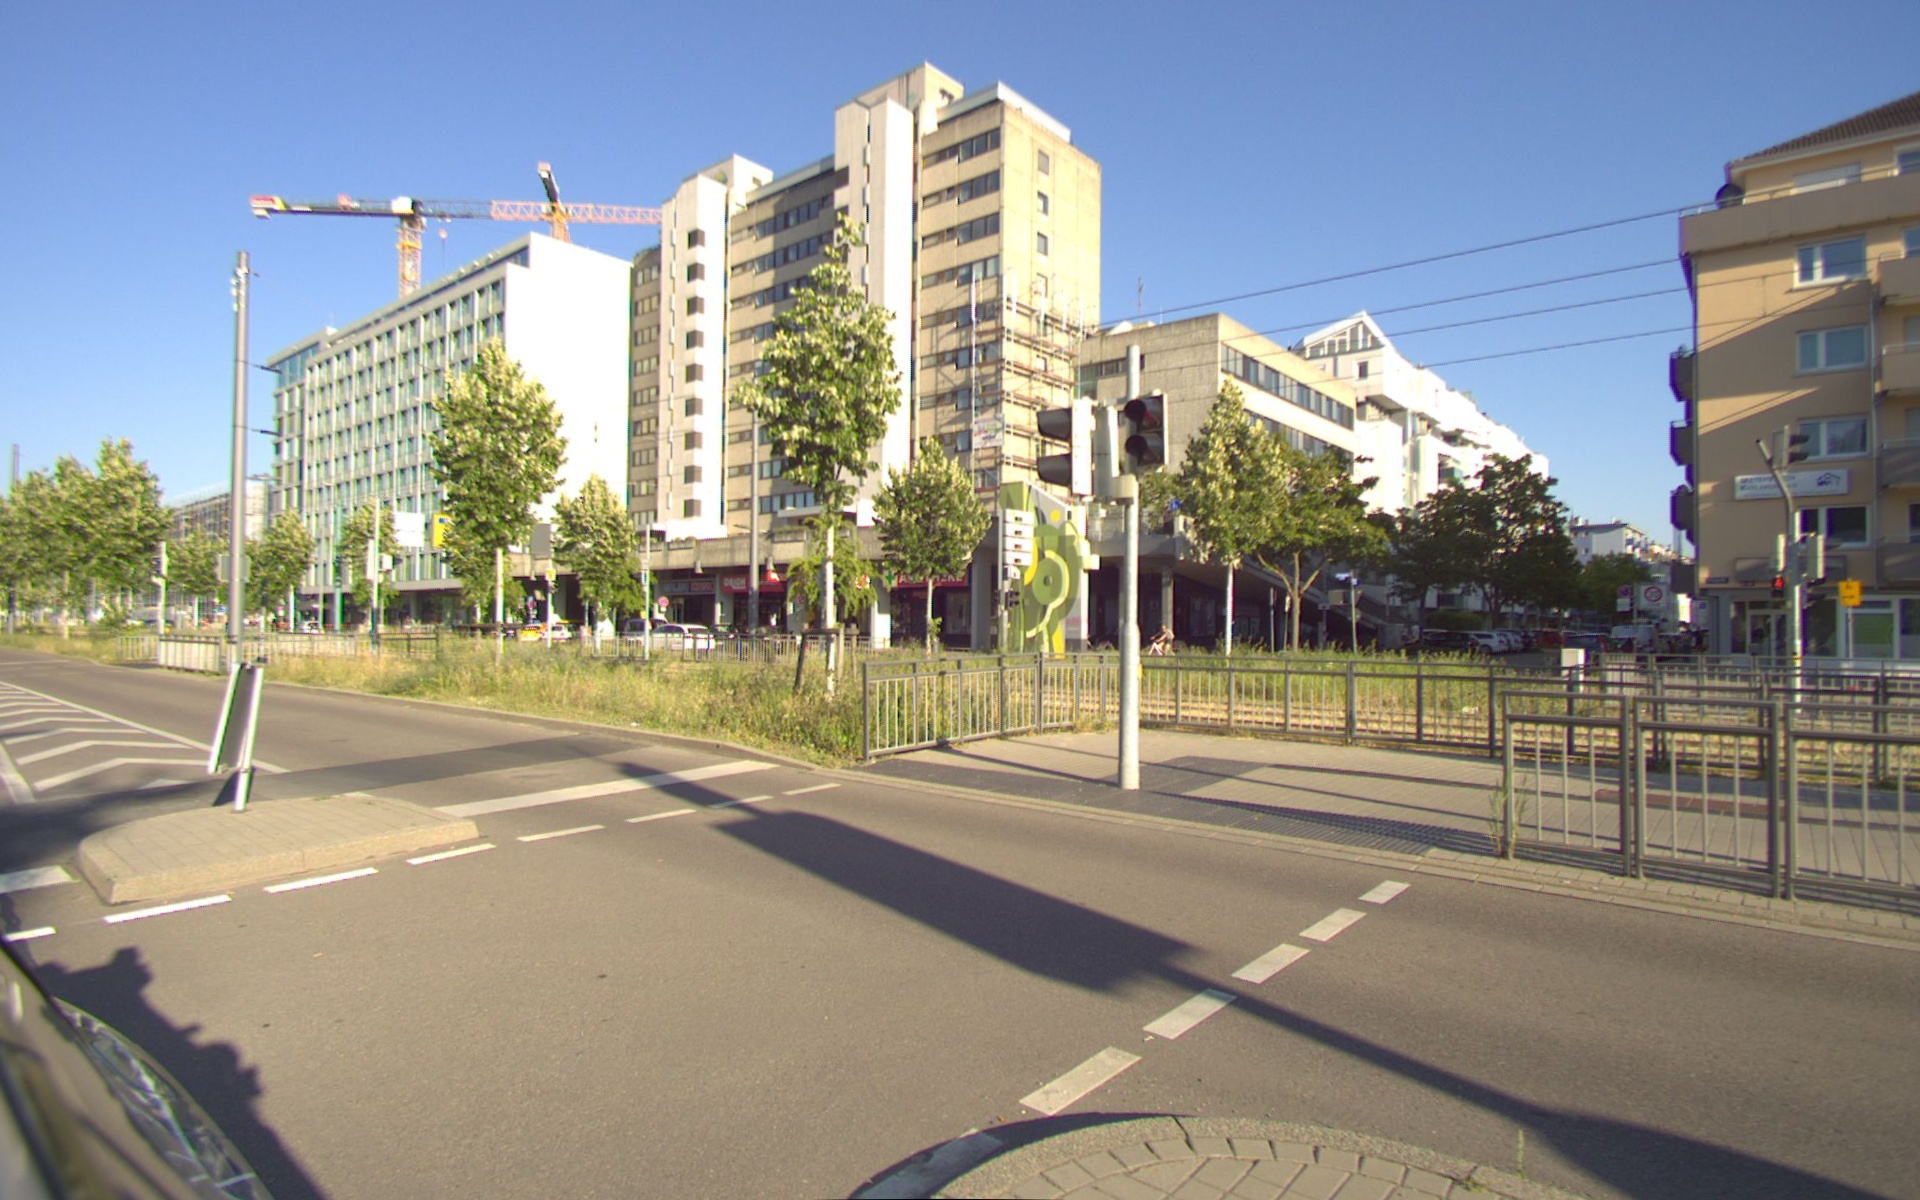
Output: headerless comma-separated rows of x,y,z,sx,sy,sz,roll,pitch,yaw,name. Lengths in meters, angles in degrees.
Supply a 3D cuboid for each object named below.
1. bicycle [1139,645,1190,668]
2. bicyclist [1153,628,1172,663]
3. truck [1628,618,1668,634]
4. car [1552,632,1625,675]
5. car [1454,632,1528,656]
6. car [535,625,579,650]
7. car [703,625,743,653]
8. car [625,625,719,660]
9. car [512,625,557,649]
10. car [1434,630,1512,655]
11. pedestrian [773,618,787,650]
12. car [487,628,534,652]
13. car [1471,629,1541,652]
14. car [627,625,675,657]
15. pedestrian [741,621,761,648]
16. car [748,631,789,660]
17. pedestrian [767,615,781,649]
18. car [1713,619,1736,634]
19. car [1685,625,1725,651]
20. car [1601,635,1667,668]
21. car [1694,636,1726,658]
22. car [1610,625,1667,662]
8.327,2.309,41.248,2.013,0.898,0.504,0,-1,17,bicycle
8.254,1.829,41.175,0.710,1.405,0.732,0,-1,16,bicyclist
95.777,3.622,140.906,4.611,2.185,1.799,-1,-2,37,truck
23.633,1.956,37.978,1.845,1.508,3.947,-1,-2,39,car
35.237,2.913,67.224,3.998,1.524,1.972,-1,-2,41,car
-26.264,2.436,66.095,1.597,1.455,3.796,-1,0,-3,car
-13.075,2.127,55.942,1.597,1.412,3.469,-1,0,-4,car
-13.184,1.906,46.211,4.658,1.474,1.758,-1,-1,39,car
-28.495,2.446,67.879,1.762,1.455,3.806,-1,0,-5,car
32.048,2.633,63.314,3.998,1.524,1.972,-1,-2,41,car
-11.326,2.142,63.669,0.654,2.029,0.542,-1,-2,40,pedestrian
-31.192,2.780,70.404,1.596,1.455,4.553,-1,0,-5,car
38.394,2.823,71.152,3.998,1.524,1.972,-1,-2,41,car
-18.201,2.400,59.794,1.598,1.703,4.197,0,0,-1,car
-12.712,2.081,61.552,0.882,1.652,0.767,-1,-2,39,pedestrian
-9.657,2.270,51.169,1.597,1.283,3.469,-1,0,-4,car
-11.335,1.955,61.800,0.654,2.029,0.542,-1,-2,40,pedestrian
87.278,3.012,115.519,1.820,1.618,3.834,-1,-2,40,car
48.044,2.433,65.239,1.820,1.618,3.834,-1,-2,40,car
29.289,2.185,43.933,1.998,1.313,3.946,-1,-2,40,car
59.109,3.704,79.774,1.820,1.618,3.834,-1,-2,40,car
34.142,2.132,50.872,1.998,1.756,3.946,-1,-2,40,car
